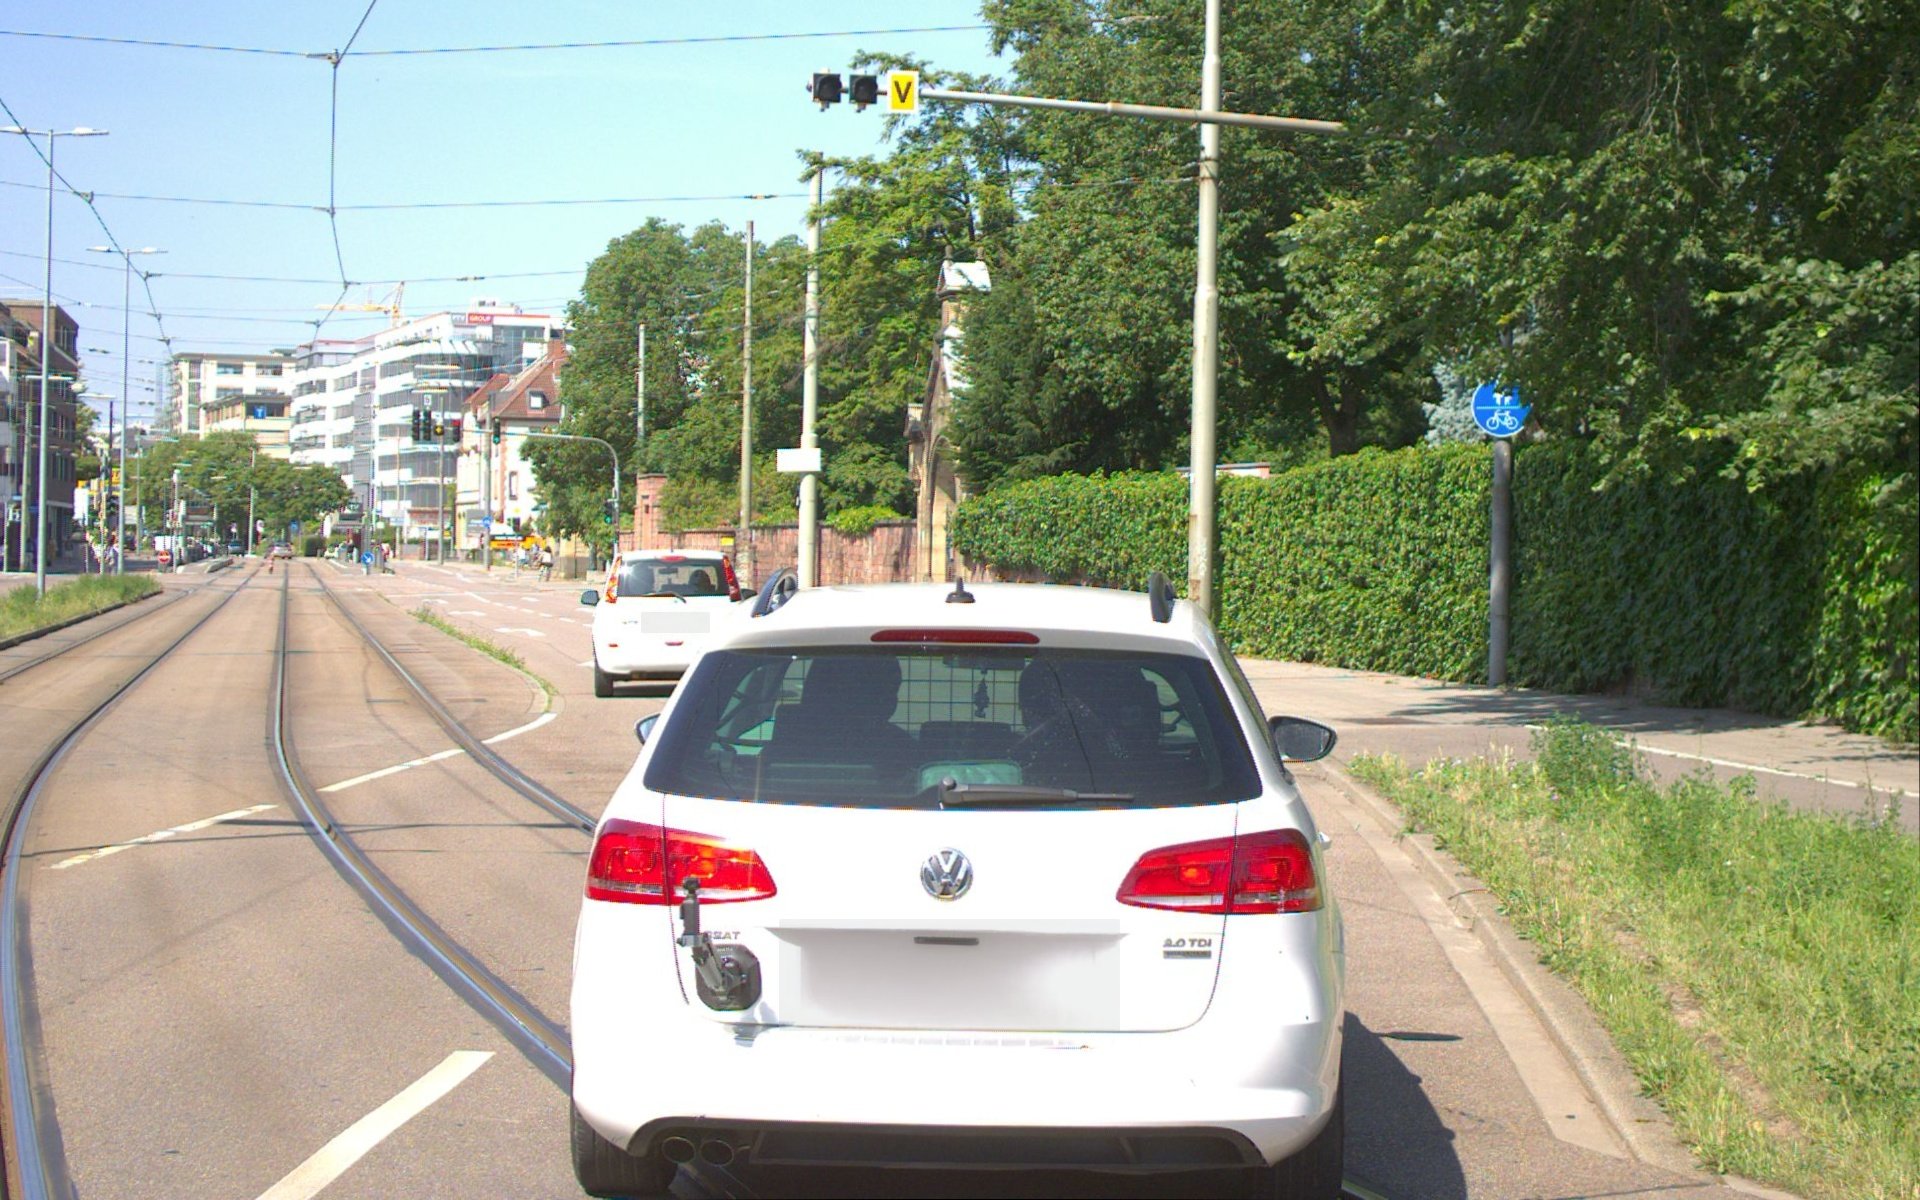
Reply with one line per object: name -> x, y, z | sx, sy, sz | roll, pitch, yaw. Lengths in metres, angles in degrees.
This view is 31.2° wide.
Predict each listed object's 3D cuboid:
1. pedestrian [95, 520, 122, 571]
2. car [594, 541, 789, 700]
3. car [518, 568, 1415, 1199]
pedestrian -> -29.035, -1.850, 117.196 | 0.826, 1.733, 0.932 | 0, 1, -18
car -> -2.853, 0.174, 37.257 | 1.730, 1.590, 4.011 | 1, 1, 1
car -> -0.025, 0.697, 8.800 | 1.778, 1.485, 3.847 | 1, 1, -1
